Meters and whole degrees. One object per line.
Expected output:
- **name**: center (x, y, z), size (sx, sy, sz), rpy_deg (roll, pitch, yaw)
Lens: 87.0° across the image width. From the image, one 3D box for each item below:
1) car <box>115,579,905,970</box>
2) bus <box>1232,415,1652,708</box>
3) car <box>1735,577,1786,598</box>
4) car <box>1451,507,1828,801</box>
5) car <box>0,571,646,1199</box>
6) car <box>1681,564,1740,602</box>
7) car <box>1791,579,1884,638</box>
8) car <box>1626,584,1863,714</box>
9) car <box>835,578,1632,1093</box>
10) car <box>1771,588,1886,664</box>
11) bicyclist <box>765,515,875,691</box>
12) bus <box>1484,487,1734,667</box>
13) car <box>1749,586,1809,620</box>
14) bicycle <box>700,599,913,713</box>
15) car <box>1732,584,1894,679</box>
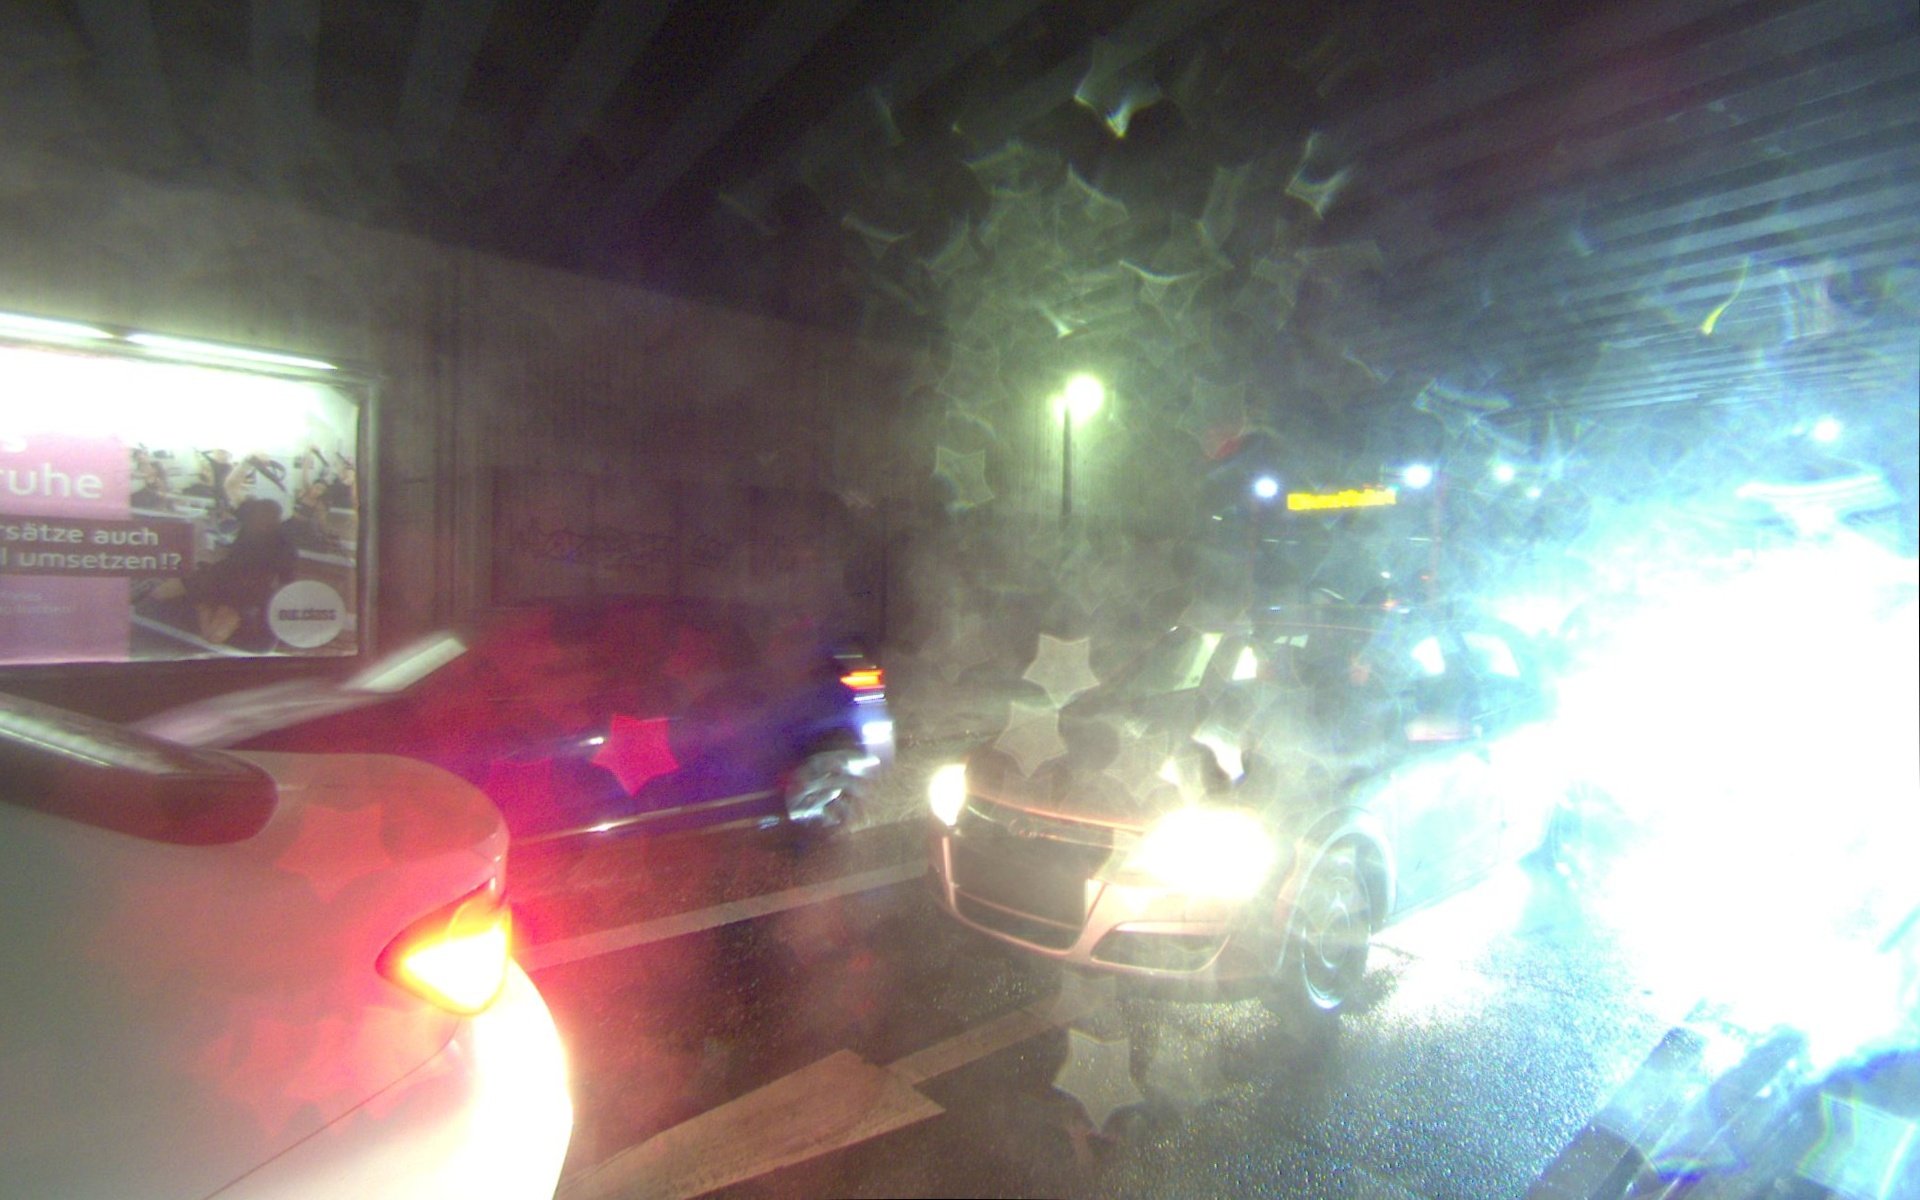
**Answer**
- **car**: center (-2.270, 0.616, 5.674), size (3.698, 1.449, 1.751), rpy_deg (-1, 1, -44)
- **bus**: center (7.801, -0.415, 15.309), size (2.770, 3.163, 9.604), rpy_deg (0, 0, 45)
- **car**: center (65.416, -1.005, 82.739), size (1.973, 1.626, 3.977), rpy_deg (0, 0, 18)
- **car**: center (6.493, 0.363, 9.473), size (4.274, 2.115, 1.996), rpy_deg (-1, 0, -43)
- **car**: center (-2.697, 0.689, 0.966), size (4.273, 1.422, 1.719), rpy_deg (-1, 0, -41)
- **car**: center (31.744, -0.697, 42.773), size (1.845, 1.503, 4.564), rpy_deg (2, 1, 38)
- **car**: center (25.595, 0.203, 29.472), size (3.934, 1.610, 1.739), rpy_deg (-1, 0, -44)
- **car**: center (10.758, 0.553, 13.796), size (3.701, 1.531, 1.867), rpy_deg (-1, 0, -41)
- **car**: center (1.549, 0.625, 4.818), size (3.931, 1.384, 1.791), rpy_deg (-2, 2, -41)
- **car**: center (18.855, 0.499, 21.907), size (1.678, 1.490, 3.937), rpy_deg (0, 0, 44)
- **bicyclist**: center (-1.504, 0.023, 10.891), size (0.885, 1.784, 0.798), rpy_deg (0, 0, -41)
- **bus**: center (14.518, -0.404, 22.170), size (2.769, 3.163, 9.605), rpy_deg (0, 0, 44)
- **car**: center (37.442, 0.117, 46.344), size (1.871, 1.490, 3.948), rpy_deg (0, 0, 36)
- **bicycle**: center (-1.599, 0.542, 10.805), size (2.169, 1.071, 0.798), rpy_deg (-1, 0, -41)
- **car**: center (15.354, 0.490, 18.146), size (3.930, 1.522, 1.628), rpy_deg (-1, 0, -41)
